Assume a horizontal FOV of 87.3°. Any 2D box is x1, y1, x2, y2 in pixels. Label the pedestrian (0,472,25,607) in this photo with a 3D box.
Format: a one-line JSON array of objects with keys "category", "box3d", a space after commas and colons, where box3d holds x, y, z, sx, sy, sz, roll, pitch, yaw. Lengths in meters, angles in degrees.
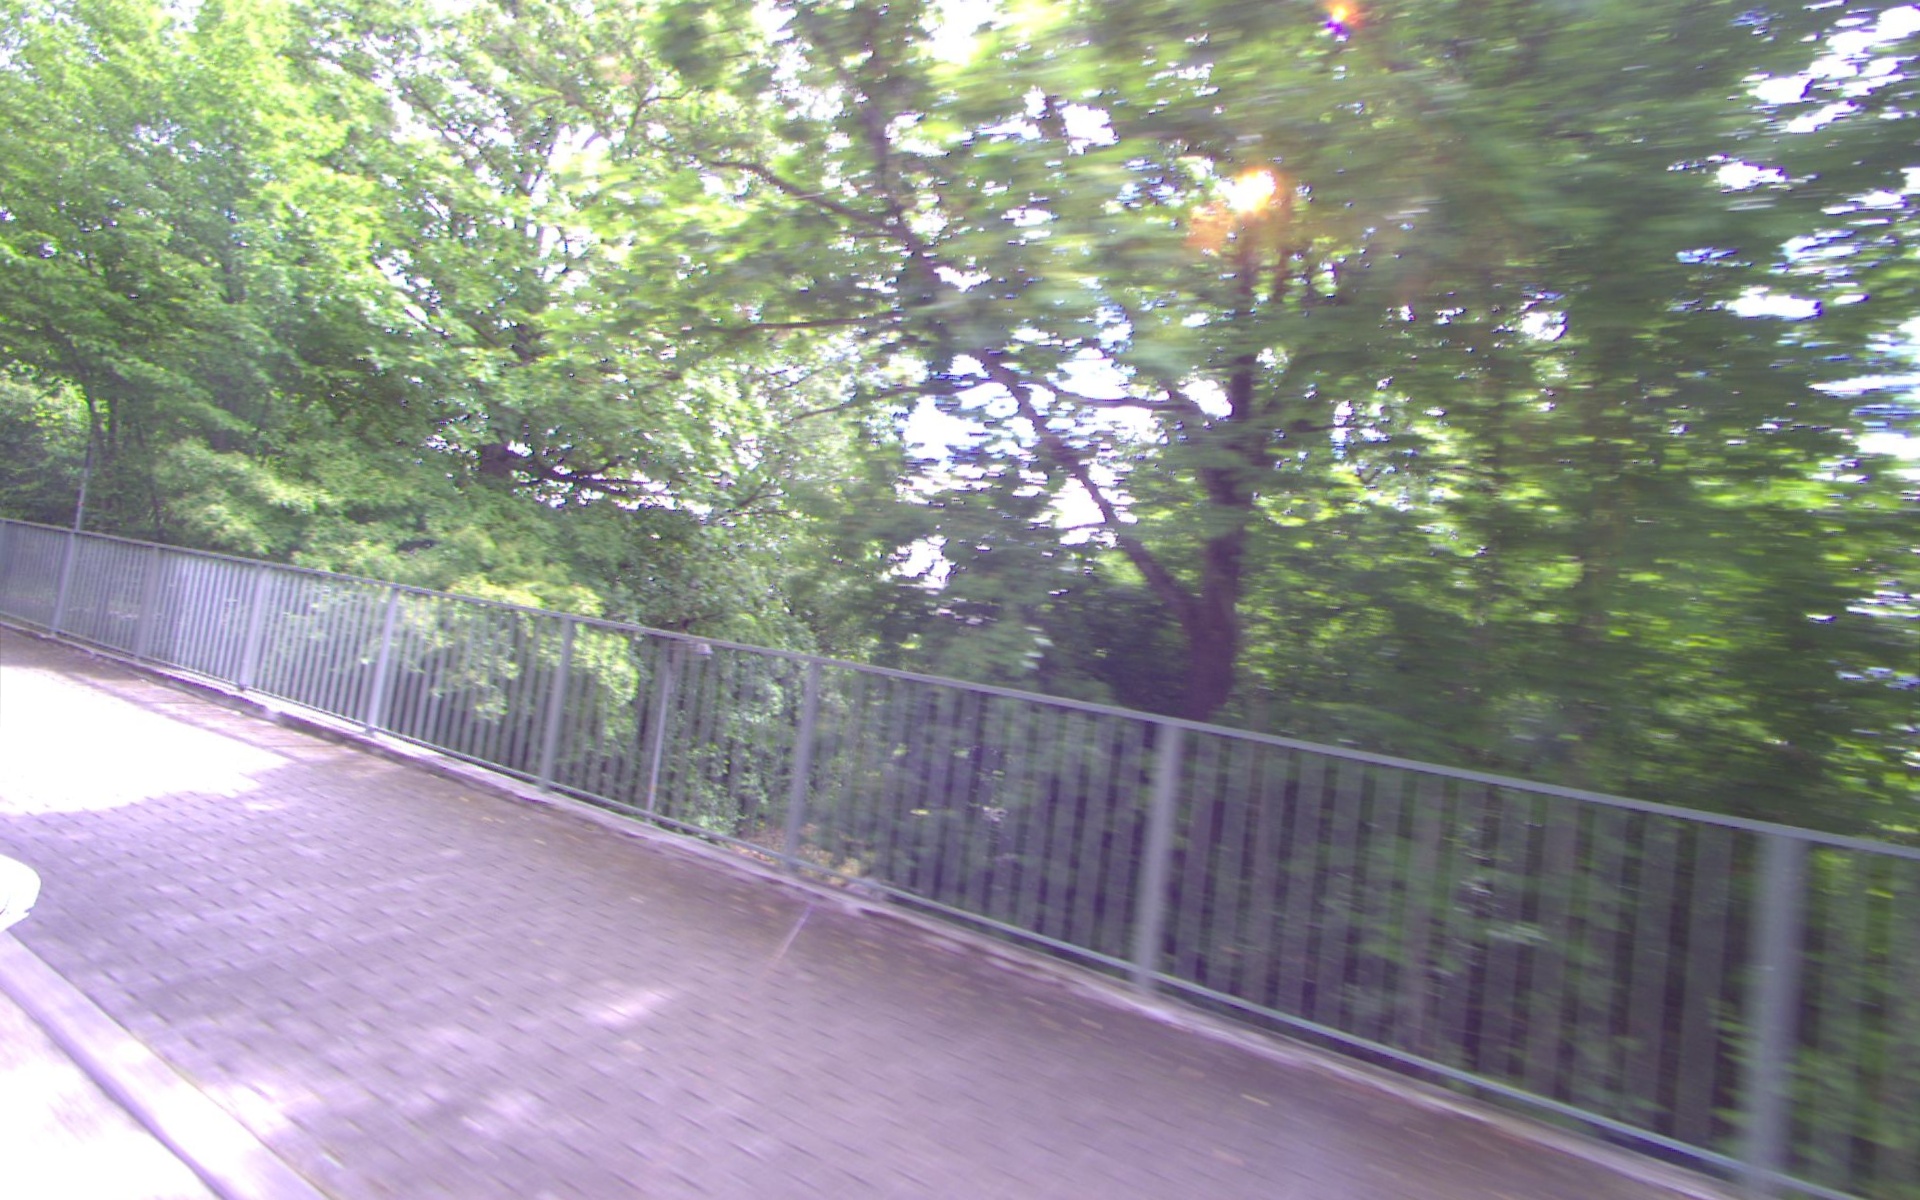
[{"category": "pedestrian", "box3d": [-13.284, -0.861, 13.493, 0.670, 1.803, 0.588, 8, -1, -6]}]
